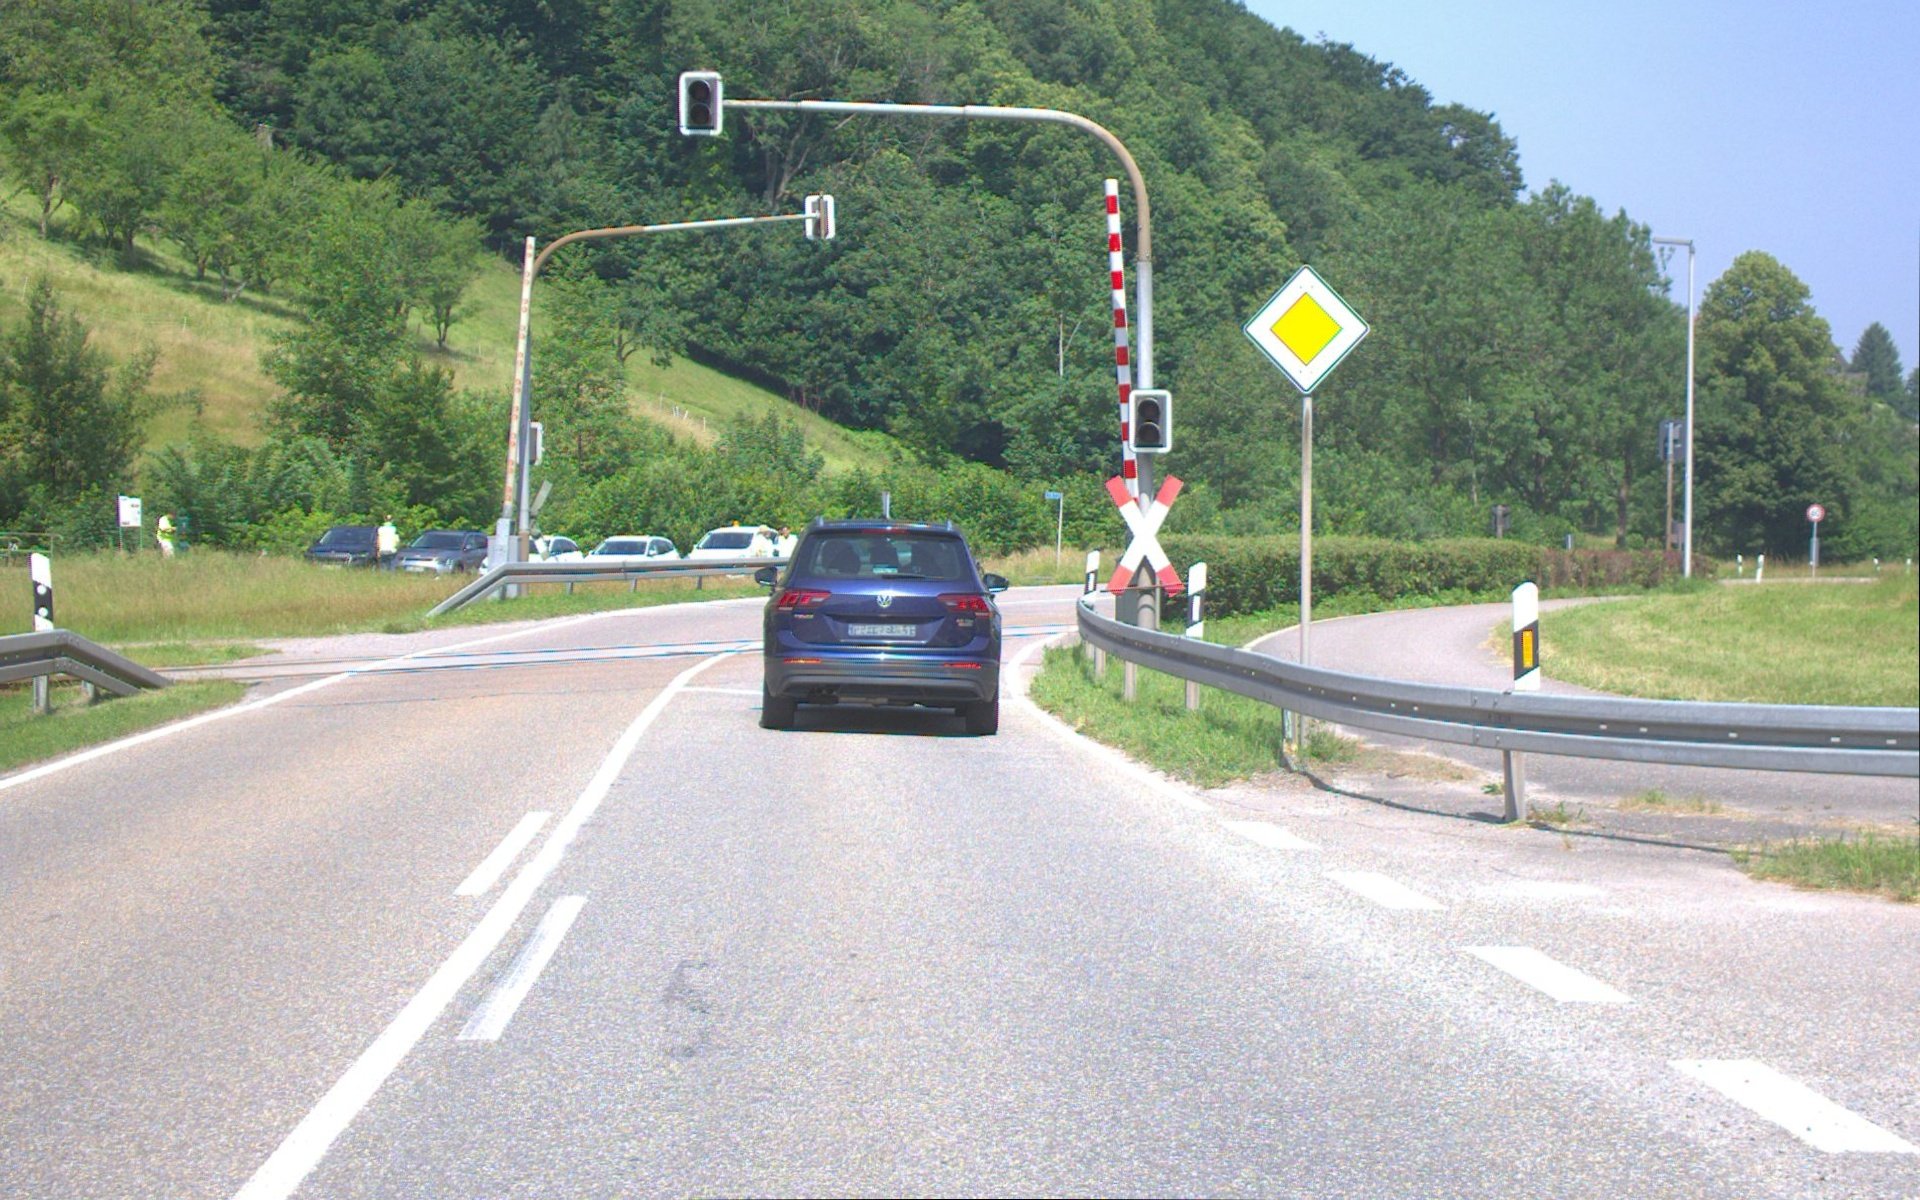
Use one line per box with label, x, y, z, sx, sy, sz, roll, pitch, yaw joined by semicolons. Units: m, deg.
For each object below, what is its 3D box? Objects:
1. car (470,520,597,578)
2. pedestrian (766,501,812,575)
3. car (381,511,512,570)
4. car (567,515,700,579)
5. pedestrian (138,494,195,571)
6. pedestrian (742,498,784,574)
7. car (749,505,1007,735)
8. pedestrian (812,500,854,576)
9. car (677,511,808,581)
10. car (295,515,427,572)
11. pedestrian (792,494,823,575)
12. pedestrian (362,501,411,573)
car;-11.318;-1.354;91.627;1.994;1.495;4.519;0;1;12
pedestrian;-4.194;-1.526;84.180;0.770;1.790;0.792;0;1;41
car;-13.743;-1.596;92.294;1.994;1.495;4.519;2;1;12
car;-8.634;-1.410;91.345;1.995;1.635;4.899;0;1;14
pedestrian;-20.383;-1.732;88.290;1.128;1.962;0.860;0;1;30
pedestrian;-4.765;-1.550;83.064;0.789;1.836;0.697;1;1;25
car;-0.662;0.104;27.409;1.852;1.643;4.140;2;1;-2
pedestrian;-3.107;-1.509;84.018;0.769;1.852;0.649;-1;1;-42
car;-5.733;-1.445;91.272;1.872;1.776;4.768;1;1;17
car;-16.157;-1.536;92.965;1.994;1.495;4.519;0;1;12
pedestrian;-3.696;-1.592;83.524;0.660;1.948;0.533;-1;1;4
pedestrian;-14.322;-1.573;85.859;0.954;1.788;1.000;0;1;6
